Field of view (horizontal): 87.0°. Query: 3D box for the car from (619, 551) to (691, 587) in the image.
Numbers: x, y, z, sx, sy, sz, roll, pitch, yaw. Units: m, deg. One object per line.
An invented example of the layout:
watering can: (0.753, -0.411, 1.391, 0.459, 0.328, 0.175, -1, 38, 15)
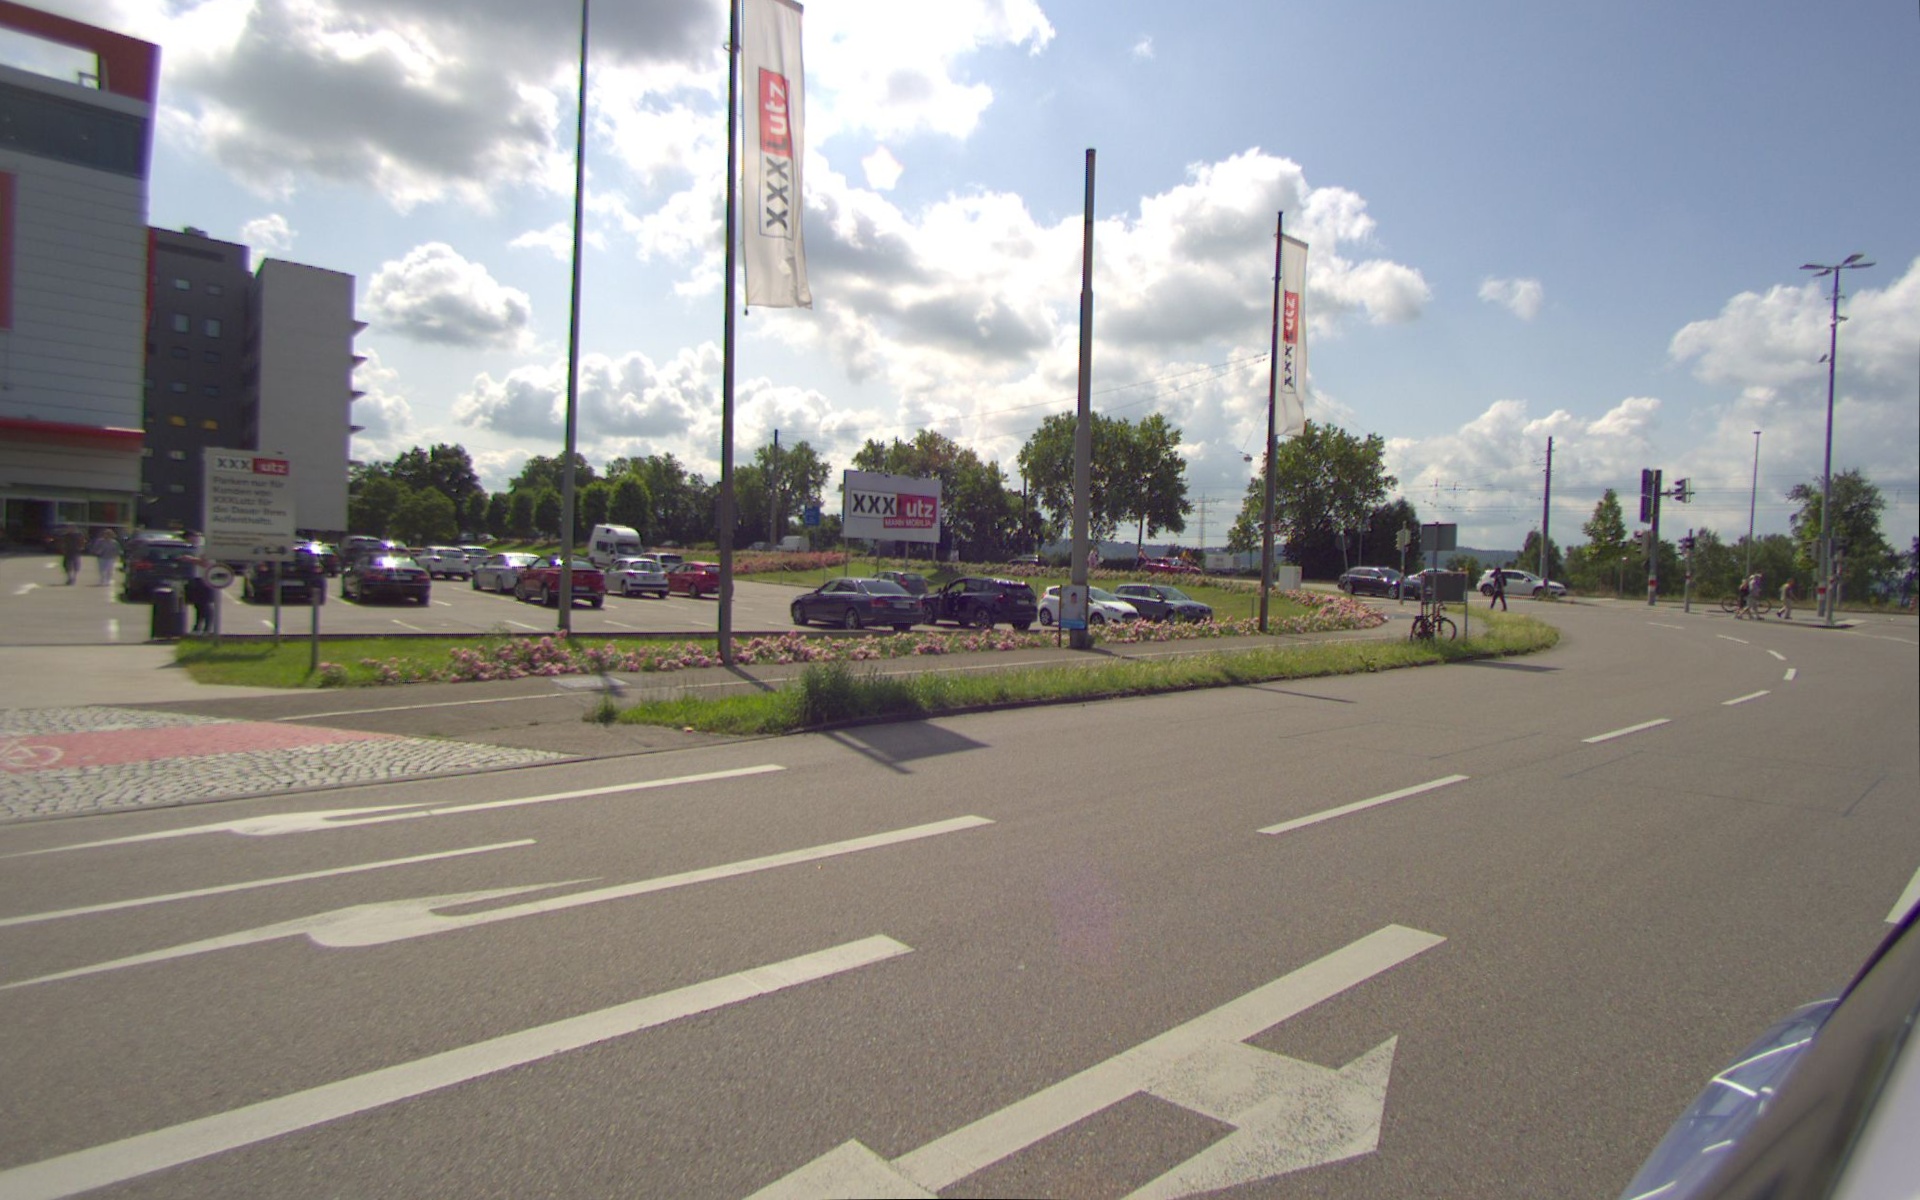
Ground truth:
car: (-15.353, -1.573, 50.817, 1.821, 1.607, 4.233, 1, 3, -42)

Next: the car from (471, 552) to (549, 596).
car: (-16.353, -0.976, 36.695, 1.573, 1.379, 4.036, 2, 2, -38)

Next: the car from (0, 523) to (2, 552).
car: (-44.971, -2.910, 46.122, 1.688, 1.360, 3.870, 1, 1, -40)

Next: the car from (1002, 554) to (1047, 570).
car: (6.887, -4.056, 108.443, 1.933, 1.527, 4.776, 3, 1, -41)

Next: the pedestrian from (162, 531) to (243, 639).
pedestrian: (-13.047, -0.259, 17.433, 0.778, 1.805, 0.862, 2, 0, 30)

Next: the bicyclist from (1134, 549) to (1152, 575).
bicyclist: (10.578, -2.200, 58.431, 0.639, 1.494, 0.742, 1, 0, -40)

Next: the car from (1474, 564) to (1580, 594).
car: (29.978, -1.138, 53.592, 1.980, 1.430, 4.488, 0, 3, -43)

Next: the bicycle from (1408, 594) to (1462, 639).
bicycle: (10.638, 0.356, 22.640, 1.517, 0.964, 0.518, -1, 2, -41)

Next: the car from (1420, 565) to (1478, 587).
car: (36.022, -1.736, 74.548, 3.476, 1.474, 1.677, -1, 1, 41)

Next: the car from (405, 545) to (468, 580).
car: (-23.073, -1.638, 44.549, 1.639, 1.470, 3.996, 1, 1, -39)

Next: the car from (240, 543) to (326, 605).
car: (-18.657, -0.751, 27.807, 1.597, 1.460, 4.371, 2, 2, -38)

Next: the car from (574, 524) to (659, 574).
car: (-23.247, -3.431, 68.287, 3.065, 3.193, 7.903, -1, 3, -37)

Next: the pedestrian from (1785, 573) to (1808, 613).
pedestrian: (32.434, -0.271, 39.241, 0.460, 1.543, 0.557, 1, 0, -32)

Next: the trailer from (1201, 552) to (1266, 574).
trailer: (23.391, -3.184, 86.773, 5.162, 1.854, 1.798, 2, 2, 42)

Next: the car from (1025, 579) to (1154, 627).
car: (4.396, 0.061, 34.958, 1.765, 1.457, 4.368, 0, 2, -40)

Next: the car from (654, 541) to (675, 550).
car: (-49.098, -8.984, 168.266, 1.902, 1.382, 3.736, 1, 1, -43)

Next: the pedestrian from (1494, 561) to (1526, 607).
pedestrian: (22.391, -0.648, 41.223, 0.744, 1.824, 0.824, 1, 1, -13)

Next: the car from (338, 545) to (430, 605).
car: (-16.639, -0.757, 29.160, 1.651, 1.526, 4.371, 0, 3, -38)

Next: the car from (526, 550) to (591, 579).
car: (-21.188, -1.863, 53.300, 1.887, 1.459, 3.992, 0, 1, -43)

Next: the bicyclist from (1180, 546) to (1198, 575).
bicyclist: (12.639, -2.174, 55.825, 0.609, 1.555, 0.697, 1, 0, -36)

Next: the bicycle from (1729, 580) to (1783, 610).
bicycle: (34.178, -0.214, 43.484, 1.688, 1.059, 0.500, 9, 3, 38)

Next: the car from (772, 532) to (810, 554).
car: (-22.574, -7.635, 134.994, 5.575, 2.522, 1.928, 6, 2, 44)

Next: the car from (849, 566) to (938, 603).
car: (-3.165, -0.736, 47.636, 2.012, 1.426, 4.372, 2, 3, -38)

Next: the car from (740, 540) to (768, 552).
car: (-29.828, -7.852, 146.399, 3.984, 1.638, 1.970, 2, 1, 42)

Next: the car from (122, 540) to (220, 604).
car: (-20.490, -0.760, 26.297, 1.813, 1.379, 4.371, 3, 2, -38)

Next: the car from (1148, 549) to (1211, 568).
car: (19.525, -3.706, 90.287, 5.231, 1.593, 1.970, 3, 2, 42)

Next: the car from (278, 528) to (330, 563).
car: (-35.620, -2.908, 54.913, 1.963, 1.760, 3.997, 1, 1, -38)

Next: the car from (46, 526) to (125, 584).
car: (-26.439, -1.355, 30.594, 1.666, 1.607, 4.022, 2, 1, -41)

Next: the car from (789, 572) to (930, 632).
car: (-2.870, -0.001, 28.140, 1.823, 1.495, 4.370, 0, 2, -38)

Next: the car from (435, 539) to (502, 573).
car: (-24.429, -2.167, 50.260, 1.887, 1.549, 3.992, 1, 1, -43)

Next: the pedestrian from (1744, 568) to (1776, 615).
pedestrian: (30.614, -0.329, 38.735, 0.686, 1.749, 0.690, -1, 3, -29)

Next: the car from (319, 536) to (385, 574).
car: (-27.764, -2.033, 46.152, 1.964, 1.607, 4.234, 1, 1, -40)

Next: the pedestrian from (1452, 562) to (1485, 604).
pedestrian: (21.795, -0.733, 43.403, 0.848, 1.787, 0.865, 1, 1, -14)

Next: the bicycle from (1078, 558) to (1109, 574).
bicycle: (8.110, -2.071, 61.522, 0.586, 0.972, 1.985, 1, 1, -40)

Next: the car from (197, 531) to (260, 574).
car: (-28.748, -1.838, 39.739, 1.817, 1.571, 4.058, 0, 2, -39)

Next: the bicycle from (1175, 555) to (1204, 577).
bicycle: (12.648, -1.852, 55.807, 0.609, 1.180, 1.505, 1, 1, -36)

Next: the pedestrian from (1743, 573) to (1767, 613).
pedestrian: (31.019, -0.261, 39.502, 0.460, 1.543, 0.586, 0, 1, -32)

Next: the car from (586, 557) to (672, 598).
car: (-13.138, -0.914, 39.970, 1.813, 1.379, 4.371, 1, 3, -38)

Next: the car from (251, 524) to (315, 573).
car: (-30.233, -2.258, 45.172, 1.964, 2.039, 3.996, 1, 1, -40)

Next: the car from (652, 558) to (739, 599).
car: (-10.925, -0.899, 41.620, 1.813, 1.445, 4.371, 2, 2, -38)

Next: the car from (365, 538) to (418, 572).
car: (-32.135, -2.521, 57.149, 1.963, 1.760, 3.997, 1, 1, -38)

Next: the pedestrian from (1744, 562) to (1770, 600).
pedestrian: (34.229, -0.815, 43.472, 0.682, 1.554, 0.500, 8, 3, 37)

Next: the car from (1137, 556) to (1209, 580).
car: (13.119, -1.997, 62.599, 1.717, 1.377, 4.247, -1, 4, -38)

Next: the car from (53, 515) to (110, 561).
car: (-42.120, -2.932, 48.600, 1.965, 2.039, 3.995, 1, 1, -40)

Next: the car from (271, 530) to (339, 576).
car: (-26.721, -1.892, 41.229, 1.964, 1.760, 3.998, -1, 3, -38)

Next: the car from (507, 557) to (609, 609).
car: (-12.831, -0.565, 32.155, 1.813, 1.379, 4.371, 2, 2, -38)

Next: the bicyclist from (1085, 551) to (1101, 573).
bicyclist: (8.087, -2.310, 61.556, 0.582, 1.342, 0.687, 1, 0, -40)

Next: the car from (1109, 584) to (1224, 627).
car: (7.717, 0.162, 38.058, 1.686, 1.435, 3.994, -1, 3, -42)

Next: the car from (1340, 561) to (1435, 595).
car: (21.090, -1.117, 50.112, 1.876, 1.501, 4.213, 0, 3, -21)

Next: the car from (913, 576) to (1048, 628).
car: (0.561, 0.013, 31.675, 1.824, 1.434, 4.368, 0, 2, -40)

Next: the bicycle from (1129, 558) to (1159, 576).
bicycle: (10.602, -1.905, 58.390, 0.654, 0.973, 1.694, 1, 1, -40)
